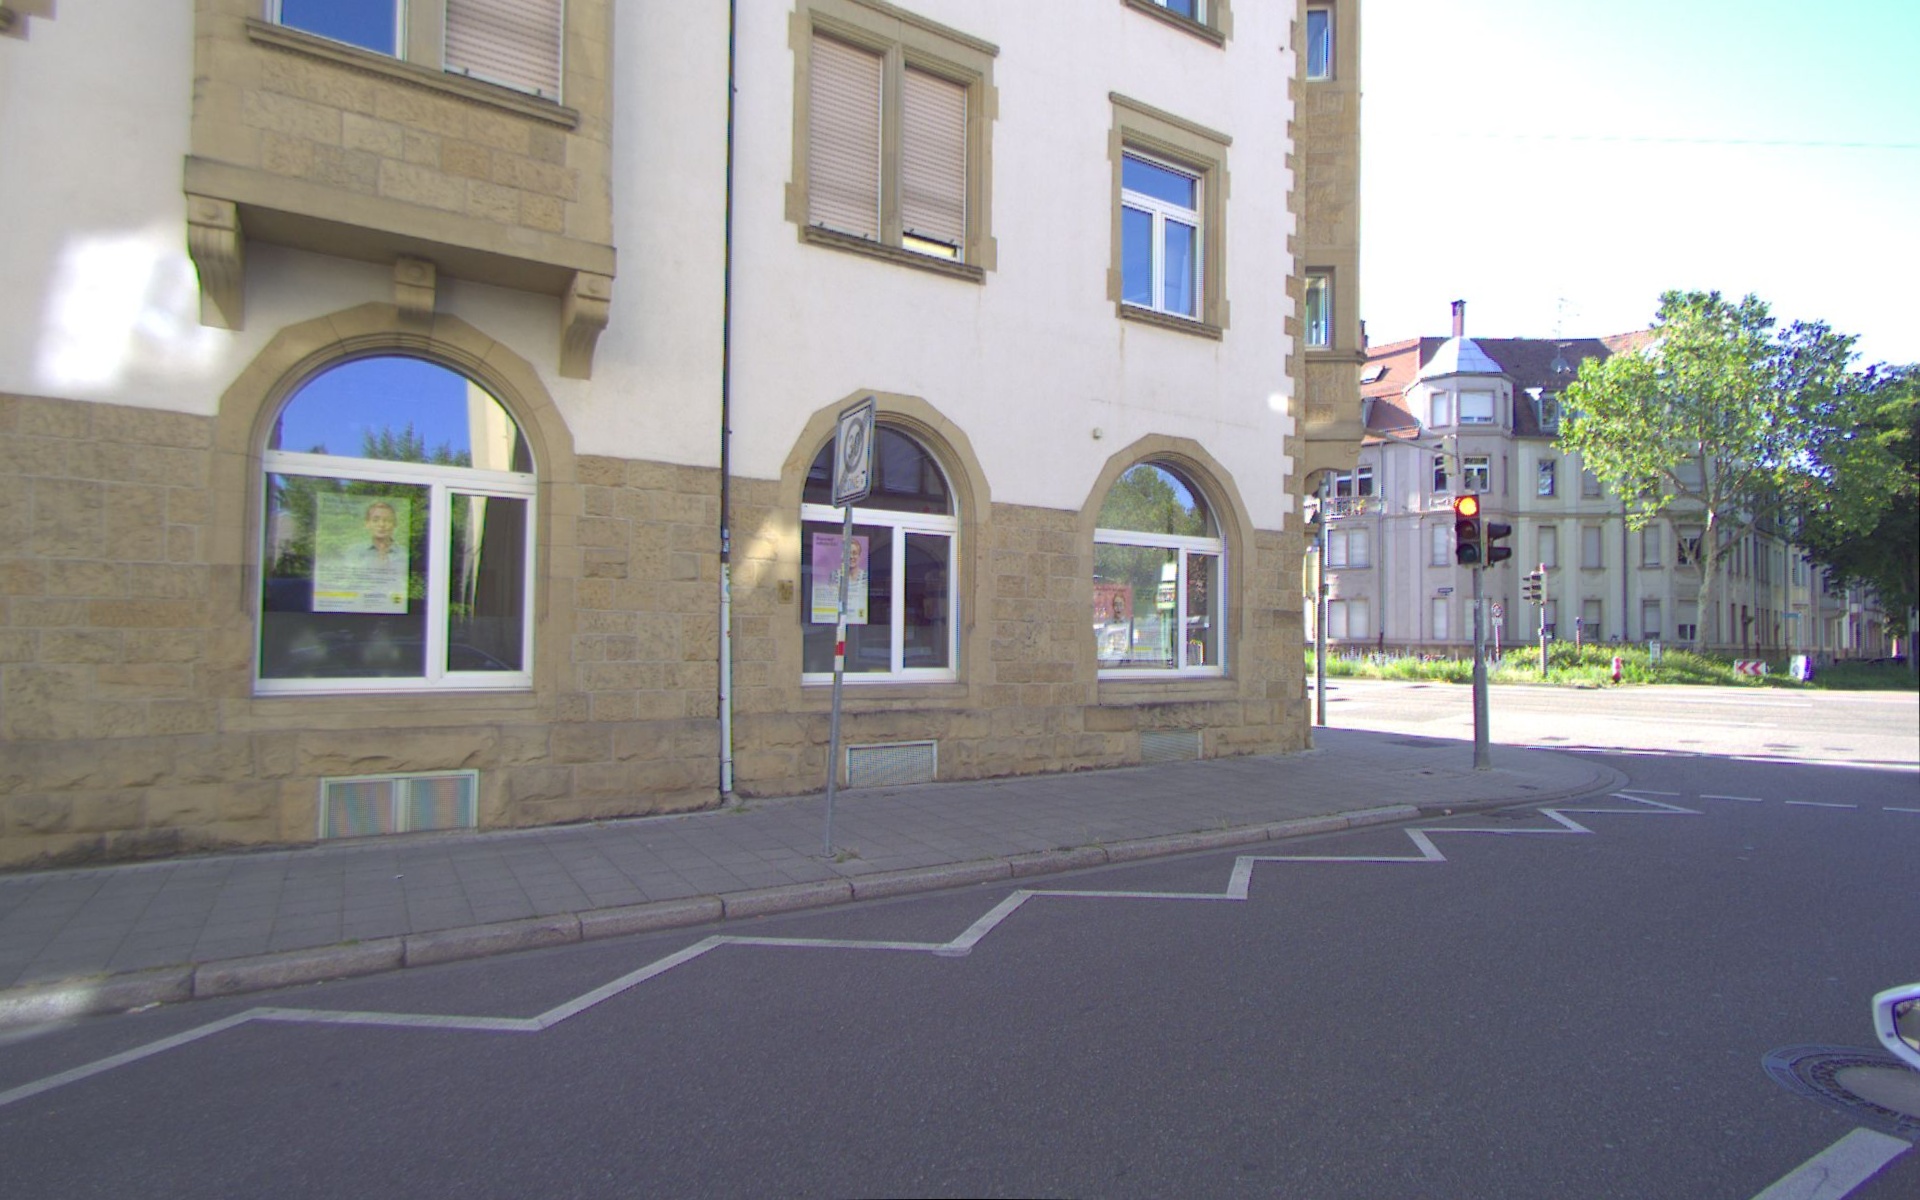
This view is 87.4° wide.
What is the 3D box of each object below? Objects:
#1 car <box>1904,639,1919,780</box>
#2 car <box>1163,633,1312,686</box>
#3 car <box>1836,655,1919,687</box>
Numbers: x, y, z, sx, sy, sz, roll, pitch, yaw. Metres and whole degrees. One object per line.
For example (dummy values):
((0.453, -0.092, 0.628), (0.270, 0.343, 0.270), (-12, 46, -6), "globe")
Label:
((12.096, 1.179, 11.146), (3.761, 1.491, 1.614), (2, -3, -35), "car")
((8.361, 1.772, 30.399), (3.944, 1.336, 1.812), (2, -1, 43), "car")
((46.071, 3.489, 49.810), (3.943, 1.505, 1.673), (-2, -3, 42), "car")
